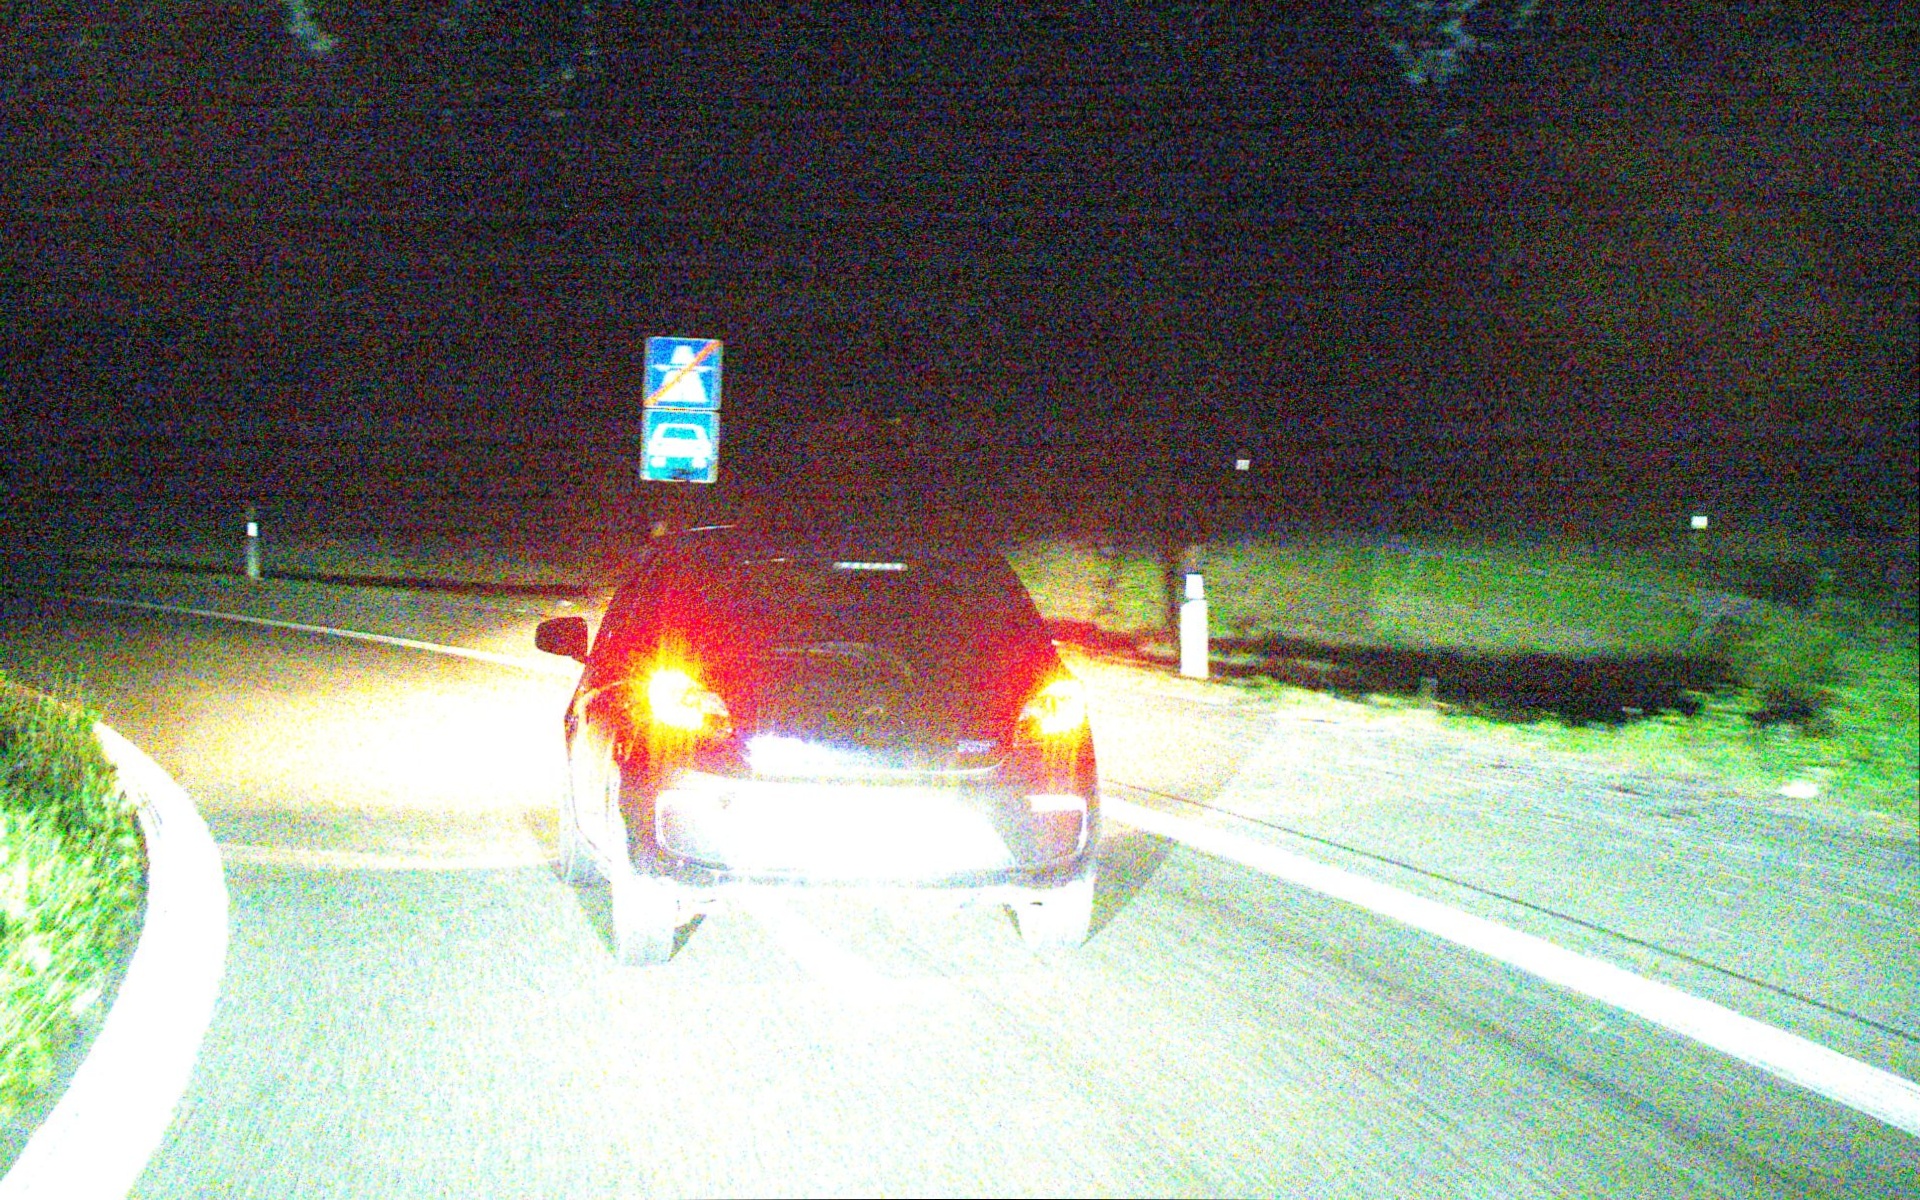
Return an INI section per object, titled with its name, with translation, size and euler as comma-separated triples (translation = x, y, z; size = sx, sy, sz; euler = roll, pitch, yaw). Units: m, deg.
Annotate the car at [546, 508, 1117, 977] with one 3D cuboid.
[car]
translation = -0.638, 0.460, 12.901
size = 1.691, 1.473, 4.001
euler = 0, 0, -9
